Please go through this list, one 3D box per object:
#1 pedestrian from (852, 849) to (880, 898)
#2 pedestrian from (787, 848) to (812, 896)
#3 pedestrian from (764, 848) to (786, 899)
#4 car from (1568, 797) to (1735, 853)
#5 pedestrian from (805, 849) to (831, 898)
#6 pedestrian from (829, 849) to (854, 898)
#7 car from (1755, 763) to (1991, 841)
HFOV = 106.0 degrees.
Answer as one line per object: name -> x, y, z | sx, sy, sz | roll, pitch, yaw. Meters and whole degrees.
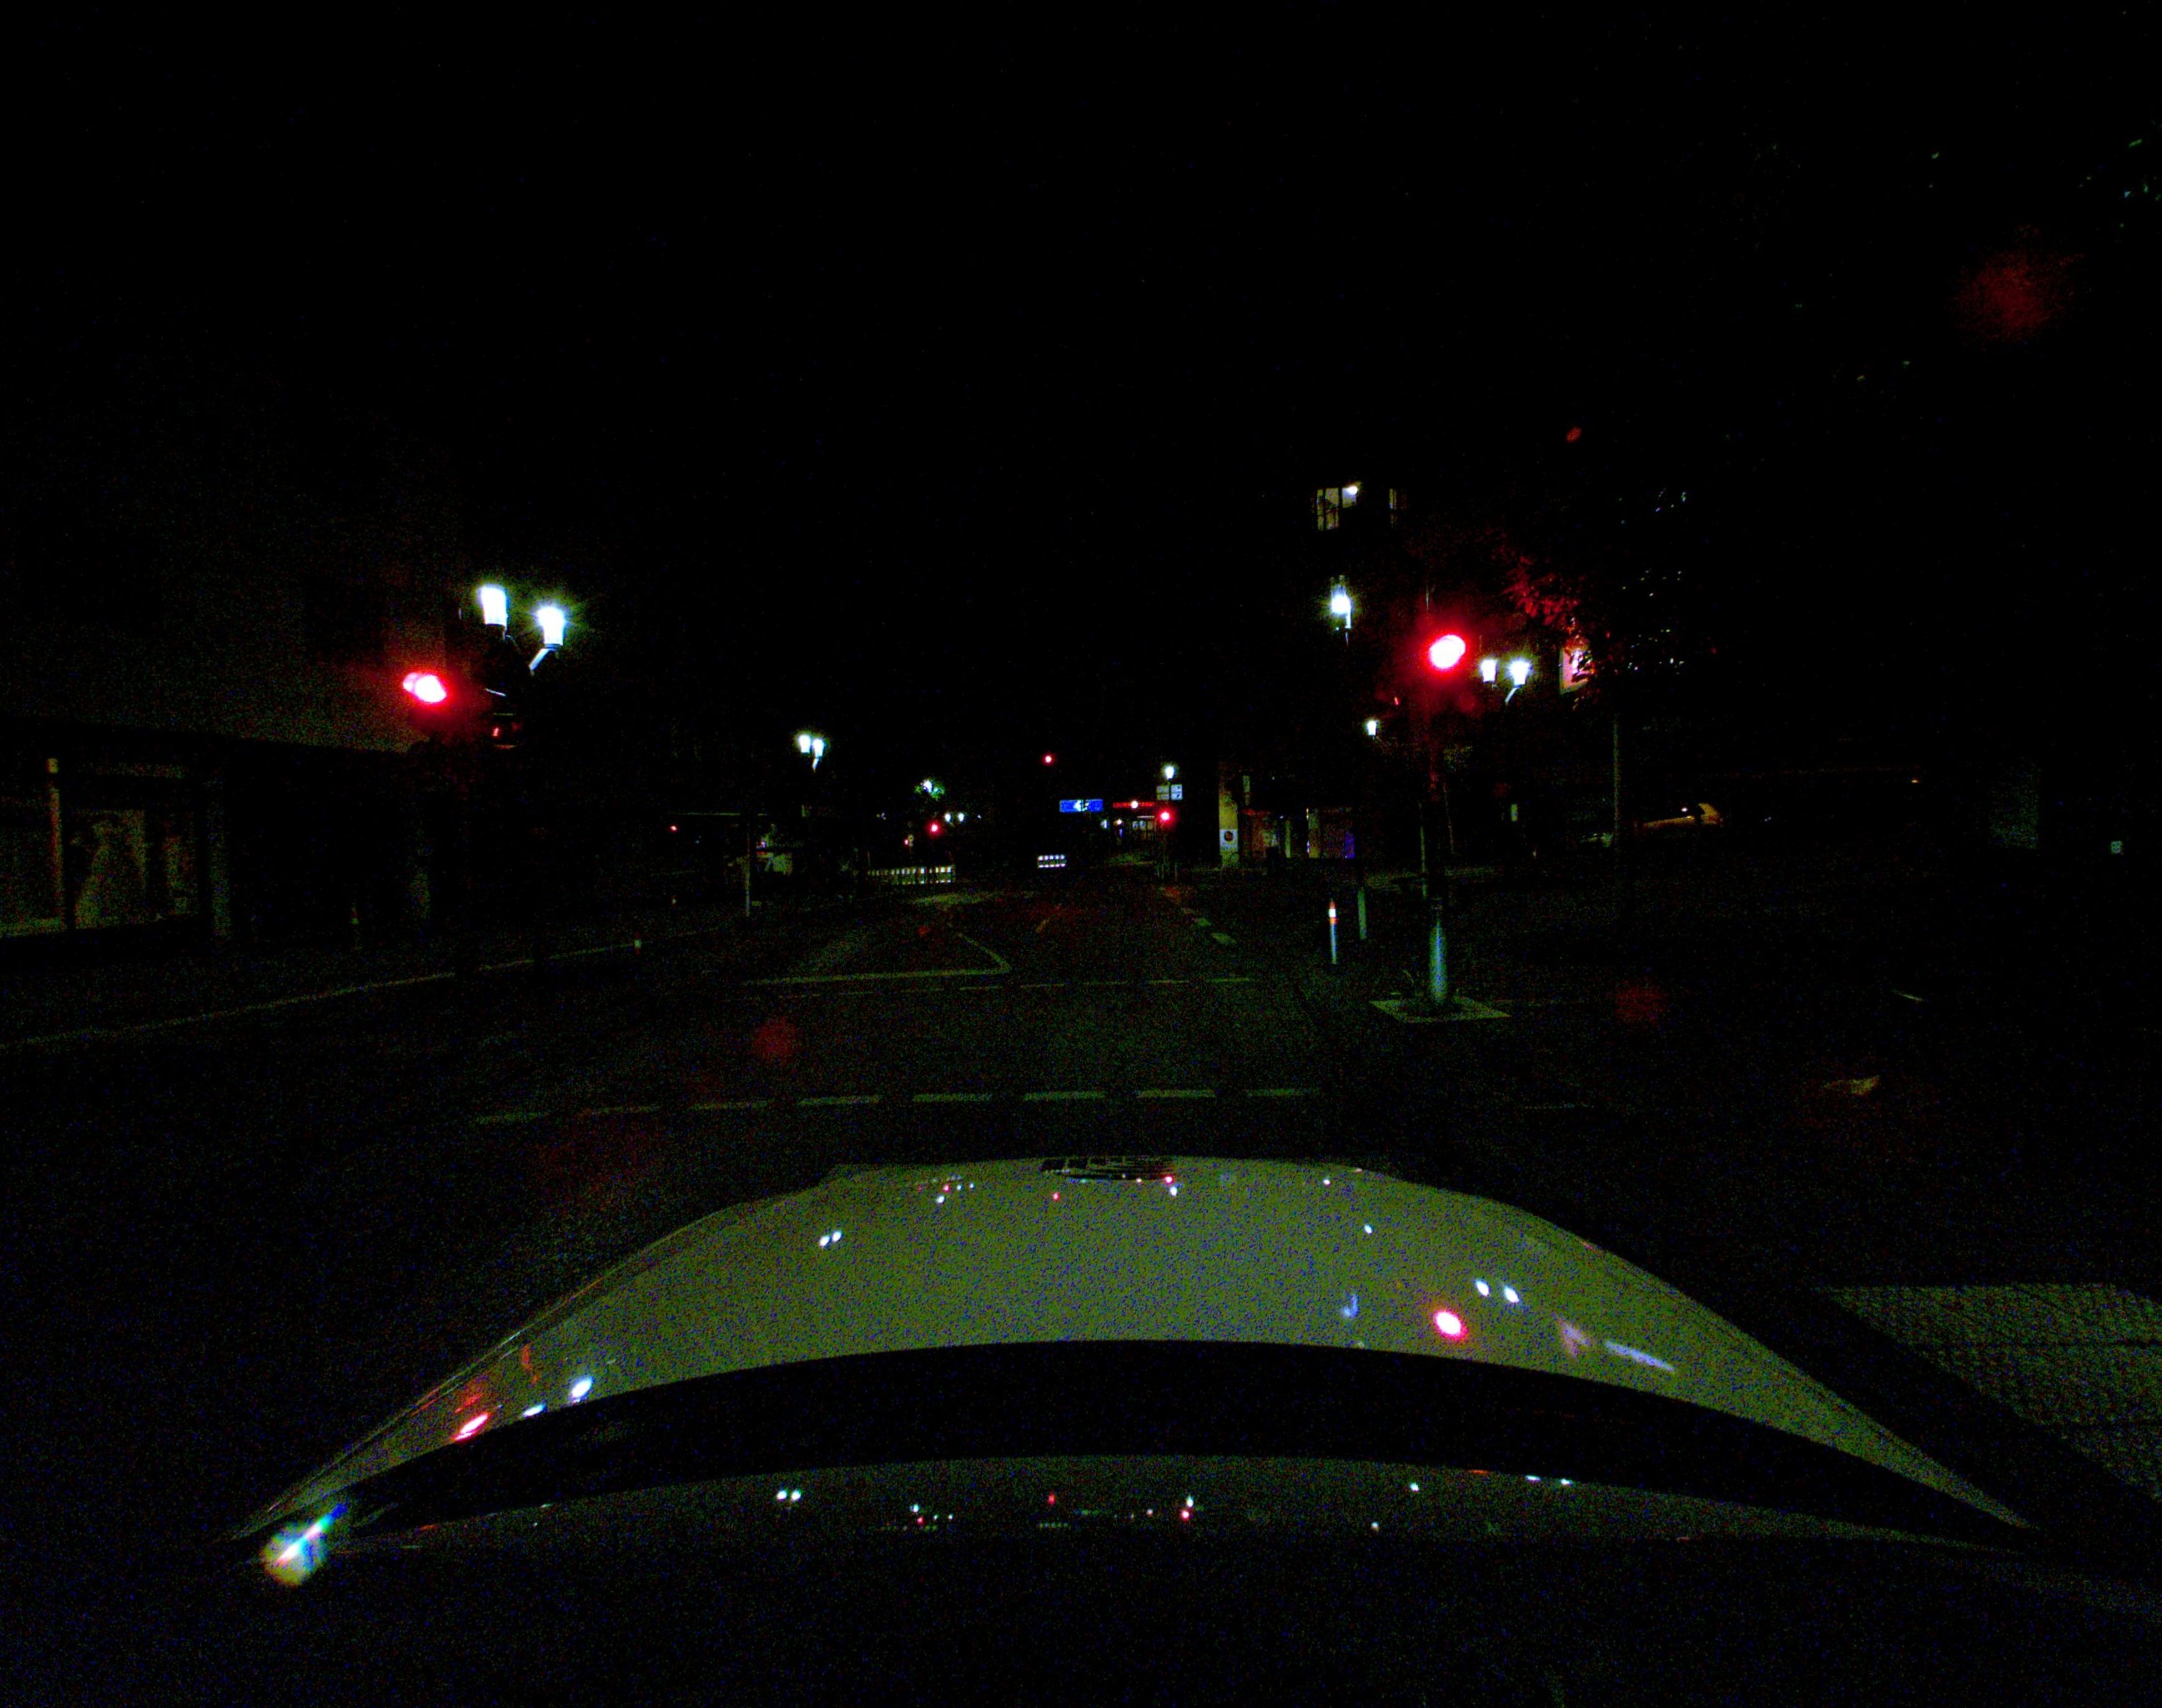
pedestrian -> -8.099, 0.729, 30.687 | 0.709, 1.795, 0.741 | -1, -2, 28
pedestrian -> -10.848, 0.695, 31.391 | 0.712, 1.795, 0.571 | -1, -2, 8
pedestrian -> -10.780, 0.687, 28.688 | 0.718, 1.795, 0.566 | 0, -2, -20
car -> 18.518, -0.930, 26.594 | 4.019, 1.452, 1.830 | -4, 0, 8
pedestrian -> -9.657, 0.717, 29.908 | 0.712, 1.795, 0.571 | -1, -2, 8
pedestrian -> -8.873, 0.713, 30.220 | 0.712, 1.795, 0.571 | -1, -2, 8
car -> 23.398, -1.442, 24.408 | 4.783, 1.910, 2.172 | -2, -2, 37
